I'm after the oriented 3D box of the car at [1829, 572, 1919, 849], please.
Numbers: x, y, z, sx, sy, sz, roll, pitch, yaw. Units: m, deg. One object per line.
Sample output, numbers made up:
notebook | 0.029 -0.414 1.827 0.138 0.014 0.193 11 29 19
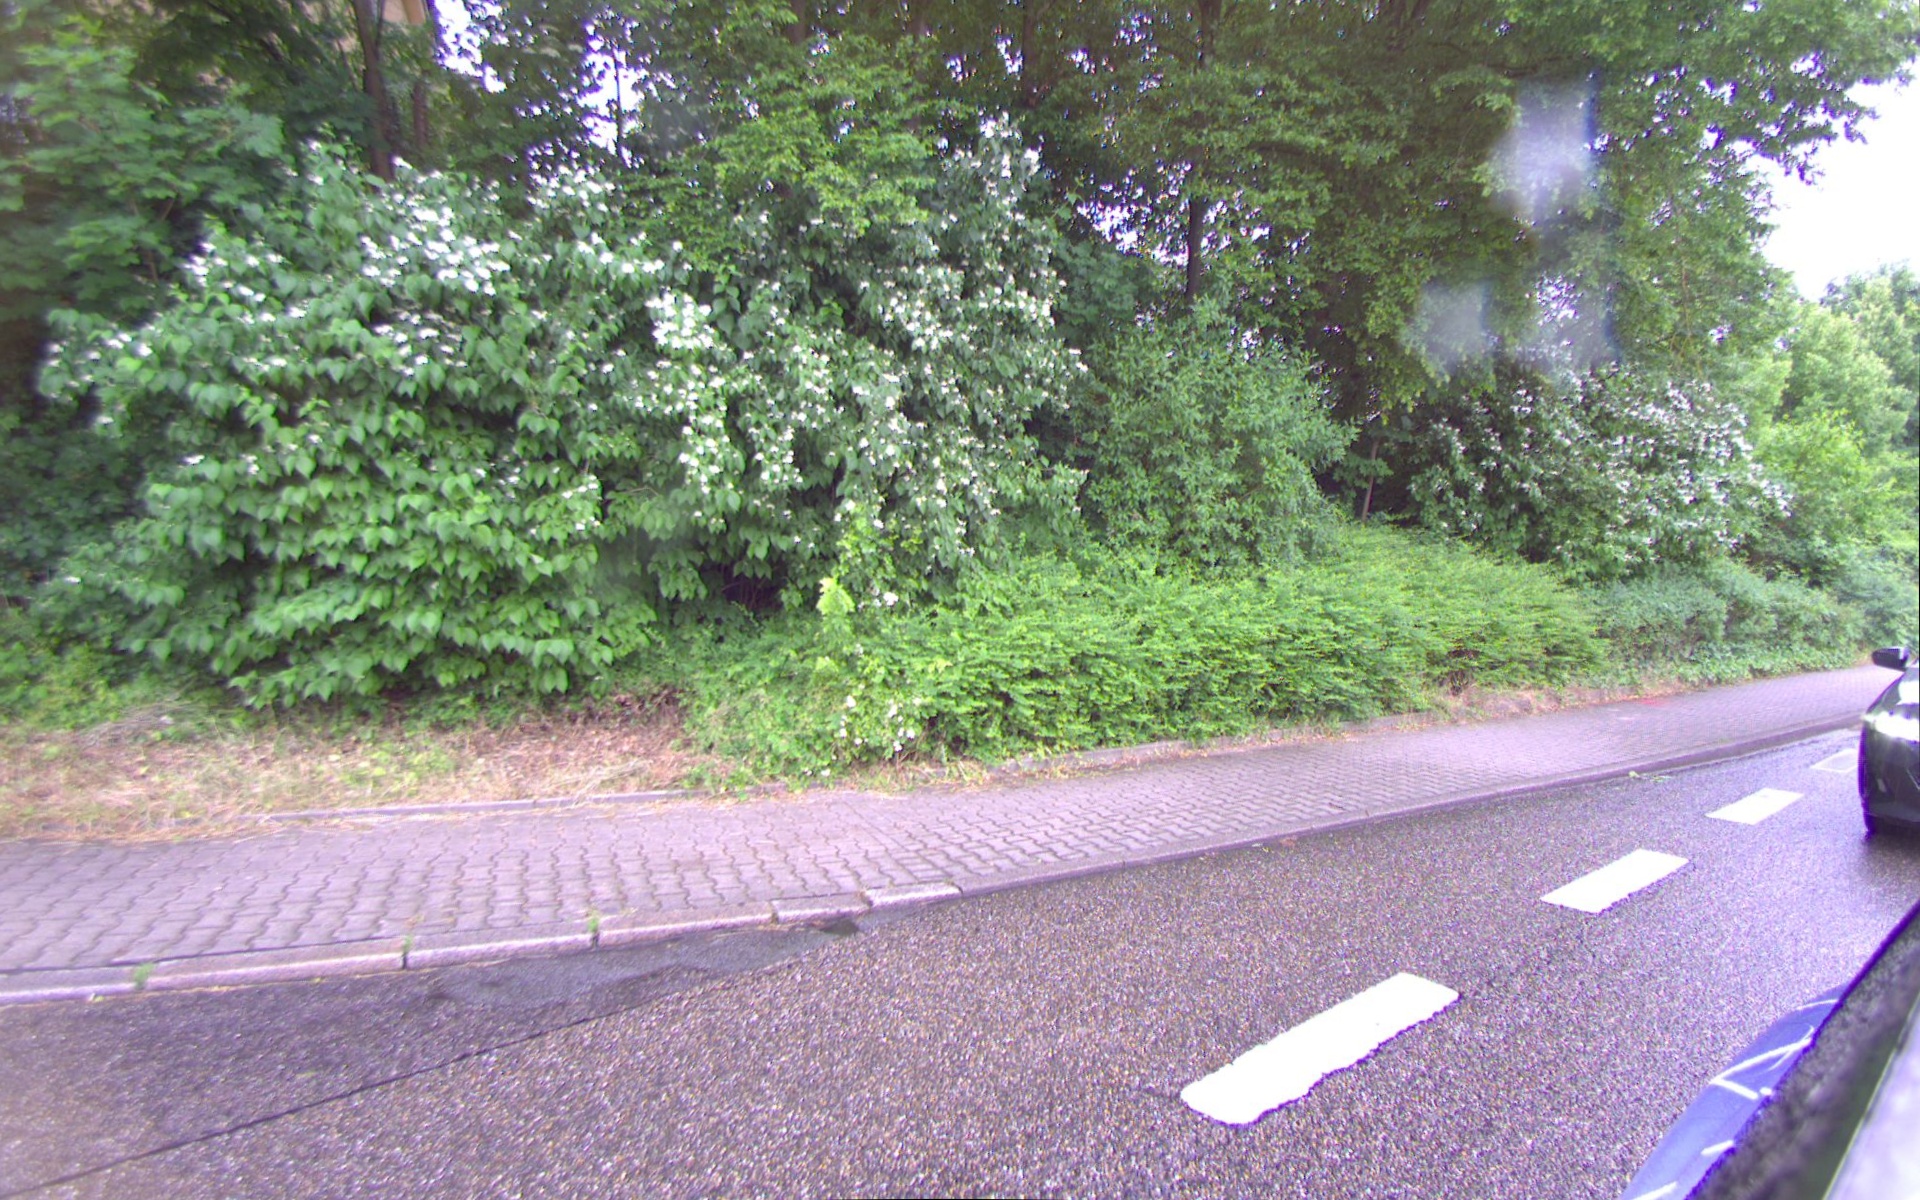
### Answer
car | 7.340 0.639 6.333 4.118 1.524 1.875 0 4 -35
